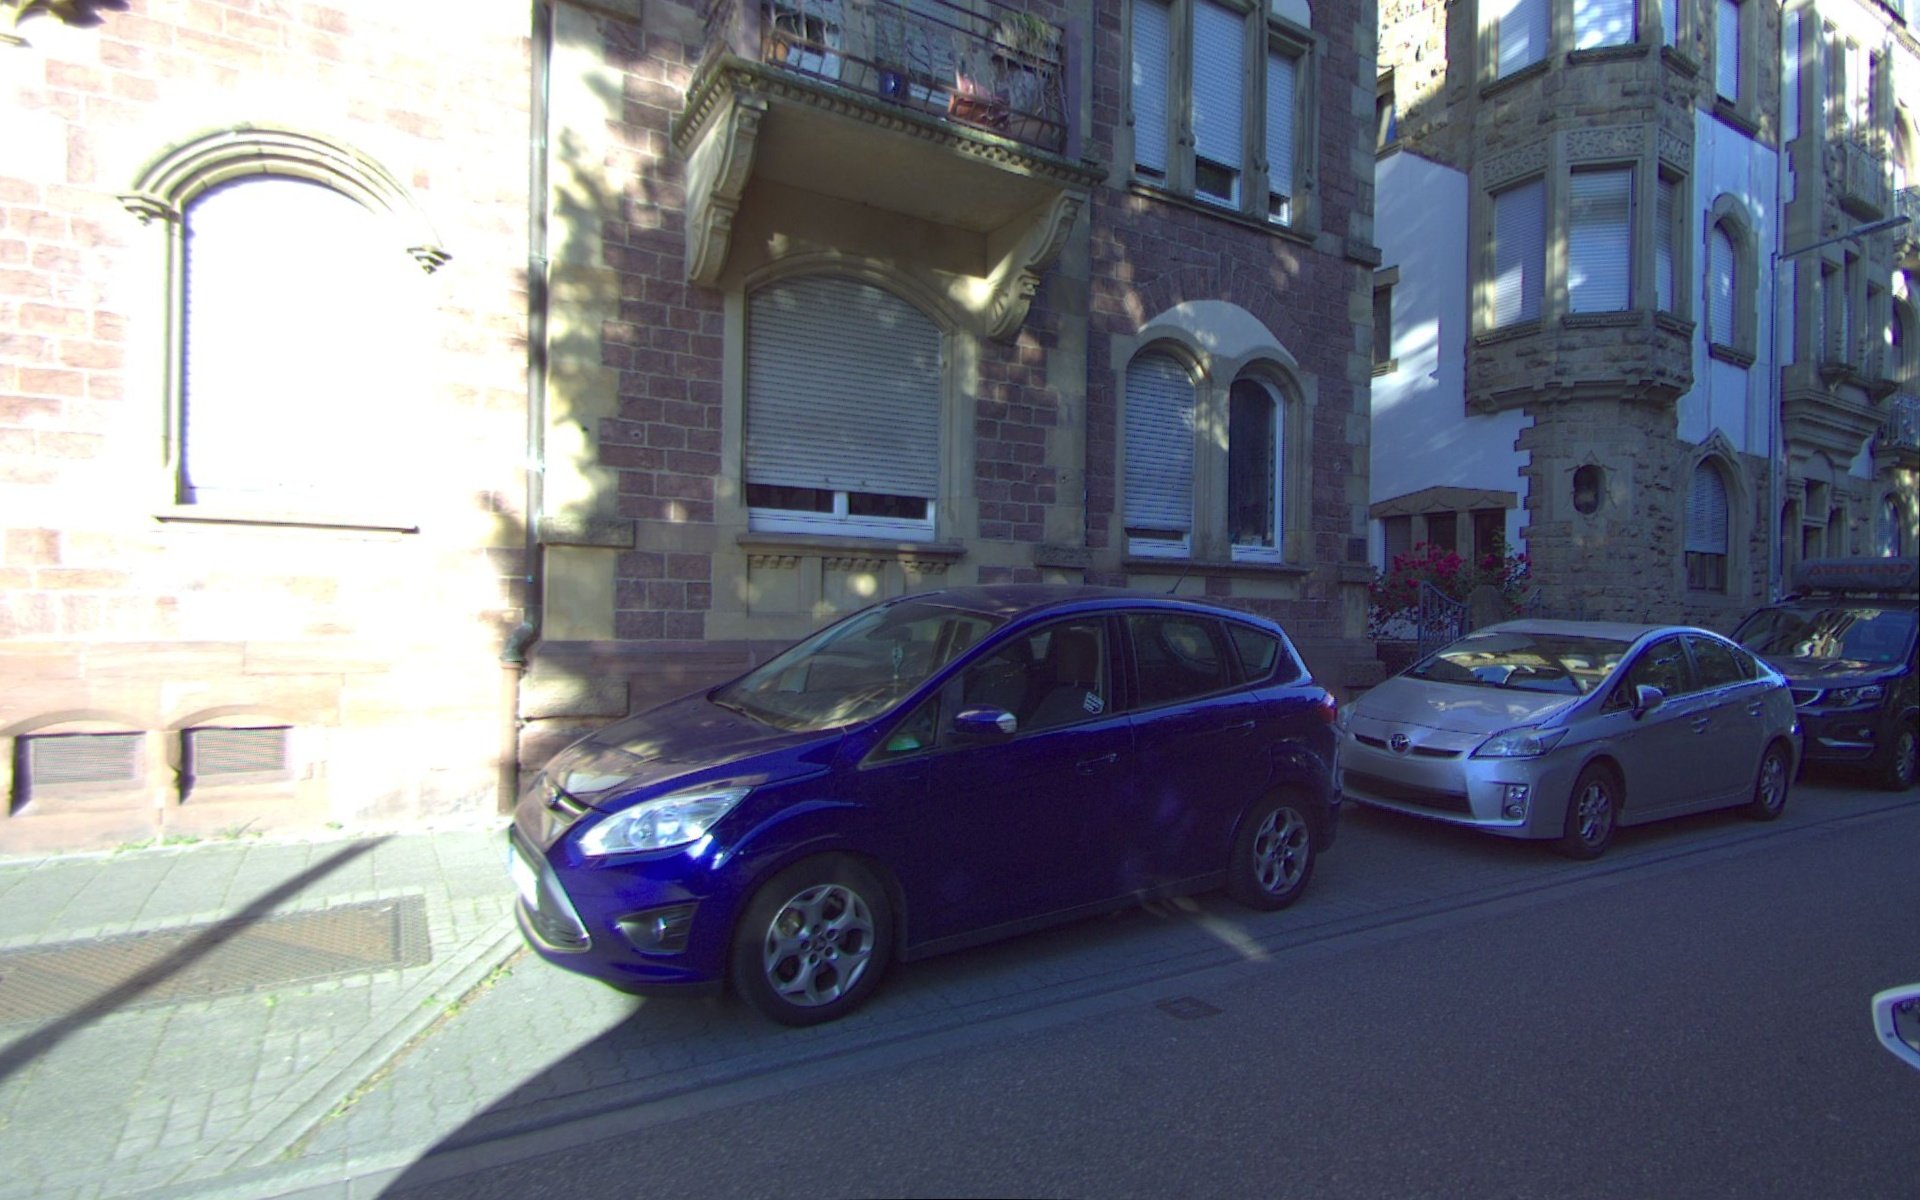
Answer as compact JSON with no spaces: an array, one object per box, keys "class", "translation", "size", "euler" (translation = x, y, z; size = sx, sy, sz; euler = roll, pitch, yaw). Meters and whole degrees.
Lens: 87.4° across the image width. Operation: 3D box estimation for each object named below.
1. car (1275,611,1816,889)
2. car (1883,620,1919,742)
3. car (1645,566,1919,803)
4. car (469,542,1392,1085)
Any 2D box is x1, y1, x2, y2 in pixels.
[{"class":"car","translation":[4.544,0.884,7.576],"size":[4.407,1.519,1.719],"euler":[1,1,-33]},{"class":"car","translation":[14.841,1.145,13.901],"size":[4.653,1.595,1.721],"euler":[3,-1,-30]},{"class":"car","translation":[9.312,0.731,10.521],"size":[4.449,2.001,1.957],"euler":[1,1,-33]},{"class":"car","translation":[0.051,0.713,4.921],"size":[4.213,1.643,1.719],"euler":[3,0,-33]}]
